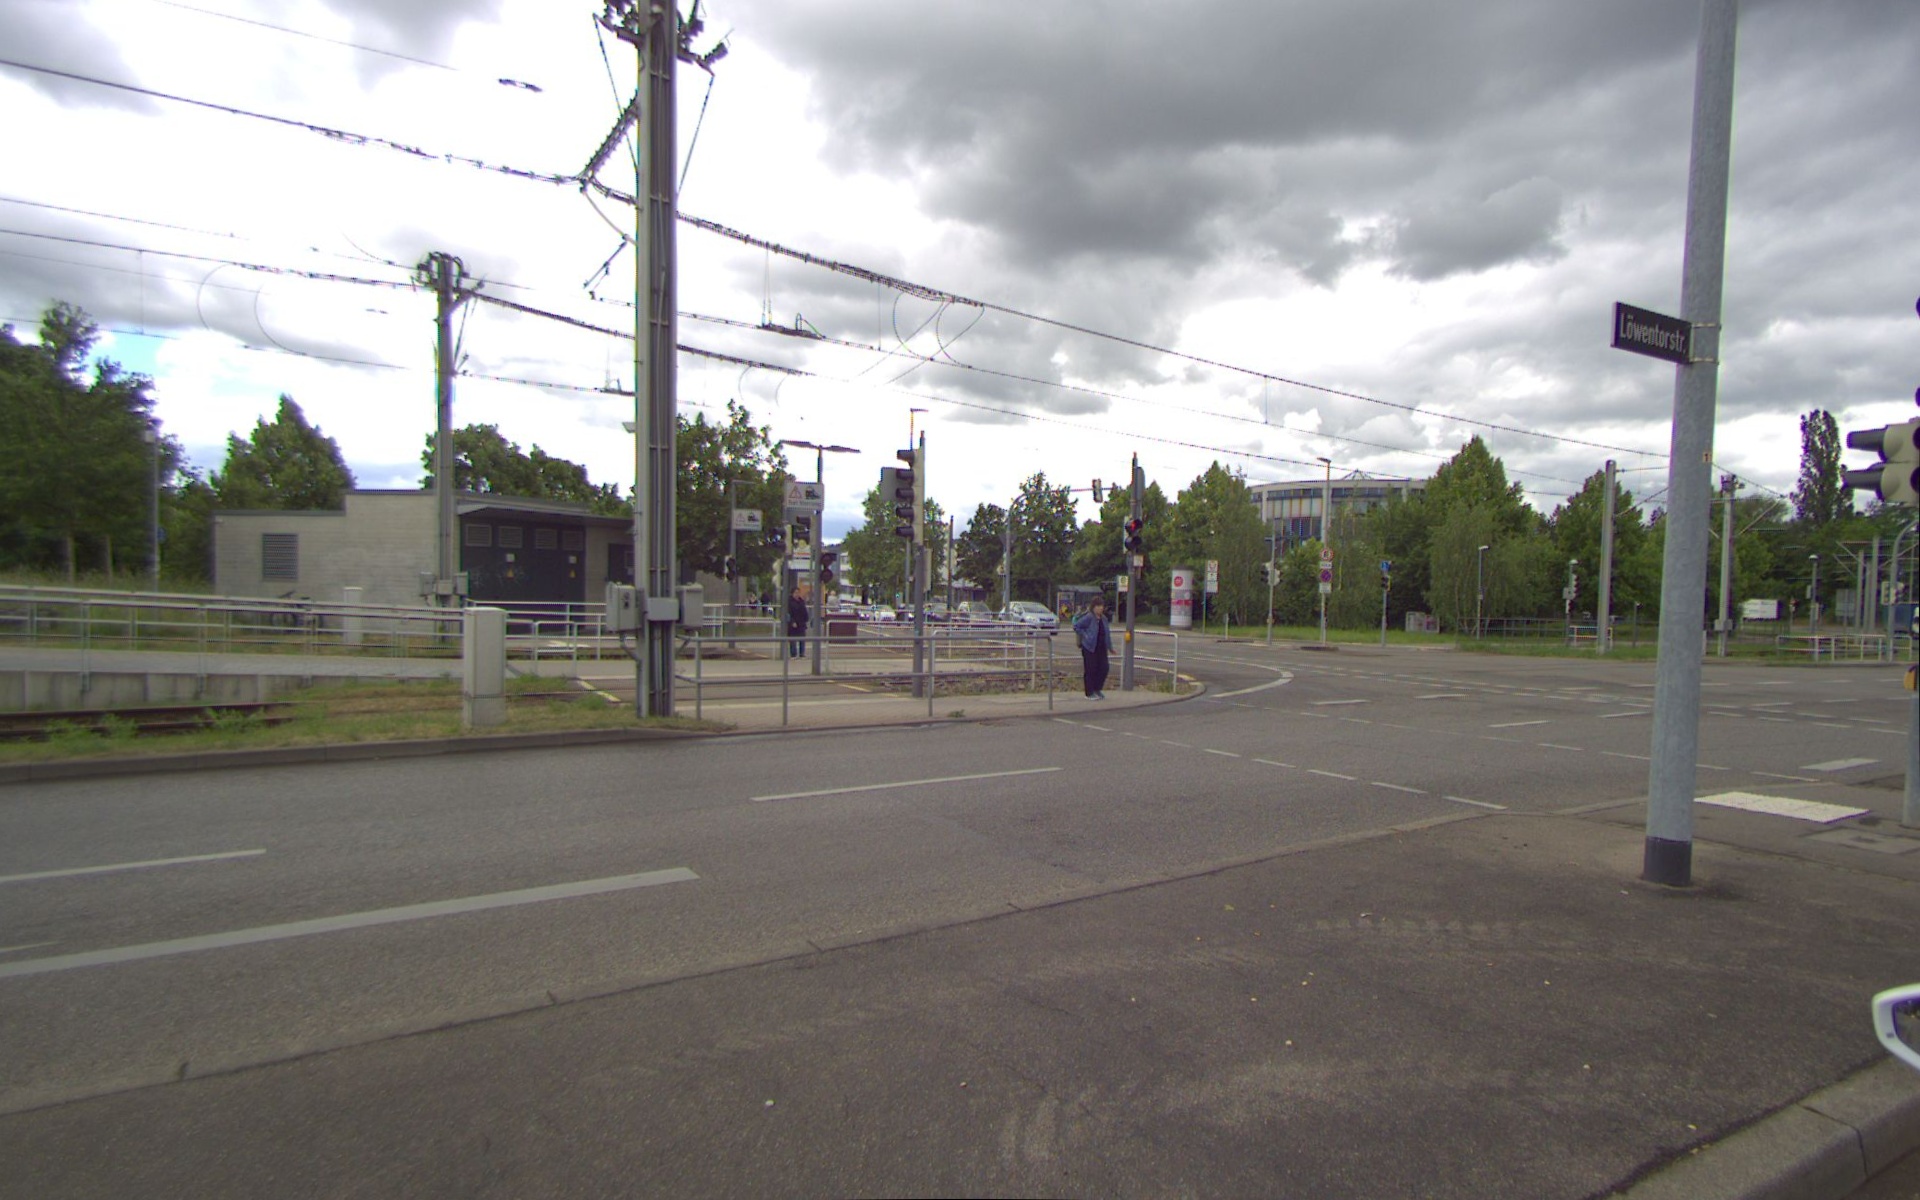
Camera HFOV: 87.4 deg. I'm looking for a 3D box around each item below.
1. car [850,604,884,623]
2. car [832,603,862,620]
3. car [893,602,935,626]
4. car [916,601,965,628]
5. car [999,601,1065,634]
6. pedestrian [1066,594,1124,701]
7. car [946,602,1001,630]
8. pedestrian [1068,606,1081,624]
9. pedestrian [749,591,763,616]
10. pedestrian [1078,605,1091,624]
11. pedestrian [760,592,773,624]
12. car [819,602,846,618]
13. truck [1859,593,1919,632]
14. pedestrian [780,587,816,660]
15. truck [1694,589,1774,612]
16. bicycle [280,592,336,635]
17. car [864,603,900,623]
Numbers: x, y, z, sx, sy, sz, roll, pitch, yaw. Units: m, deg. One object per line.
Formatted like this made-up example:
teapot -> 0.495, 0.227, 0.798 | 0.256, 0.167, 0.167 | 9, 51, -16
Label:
car -> -7.416, 1.023, 79.689 | 1.706, 1.456, 3.991 | 1, 0, -20
car -> -9.767, 0.986, 86.721 | 1.706, 1.456, 3.731 | 1, 0, -20
car -> -3.002, 0.889, 64.936 | 1.706, 1.456, 3.731 | 1, 0, -20
car -> -1.148, 0.817, 58.170 | 1.706, 1.456, 3.731 | 1, 0, -20
car -> 3.304, 0.801, 46.814 | 1.706, 1.456, 3.731 | 1, 0, -20
pedestrian -> 2.048, 0.705, 15.252 | 0.701, 1.584, 0.533 | 1, 1, -44
car -> 0.692, 0.845, 53.674 | 1.706, 1.456, 3.731 | 1, 0, -20
pedestrian -> 8.316, 1.079, 72.983 | 0.652, 1.321, 0.780 | 1, 0, -16
pedestrian -> -13.353, 0.221, 65.797 | 0.771, 1.649, 0.660 | 1, 0, -22
pedestrian -> 8.884, 1.034, 71.637 | 0.652, 1.322, 0.780 | 1, 0, -16
pedestrian -> -12.205, 0.501, 63.486 | 0.738, 1.993, 0.795 | 1, 0, -9
car -> -11.929, 0.961, 94.077 | 1.706, 1.456, 3.731 | 1, 0, -20
truck -> 99.348, 1.387, 105.834 | 3.001, 3.810, 12.804 | 2, 0, 24
pedestrian -> -3.702, 0.527, 22.887 | 0.695, 1.628, 0.655 | 1, 0, -18
truck -> 115.729, 0.071, 150.475 | 2.696, 3.373, 11.401 | 1, 0, -3
bicycle -> -17.325, 0.350, 26.682 | 1.452, 1.101, 0.492 | 1, 0, 22
car -> -5.811, 0.963, 74.787 | 1.706, 1.456, 3.731 | 1, 0, -20
